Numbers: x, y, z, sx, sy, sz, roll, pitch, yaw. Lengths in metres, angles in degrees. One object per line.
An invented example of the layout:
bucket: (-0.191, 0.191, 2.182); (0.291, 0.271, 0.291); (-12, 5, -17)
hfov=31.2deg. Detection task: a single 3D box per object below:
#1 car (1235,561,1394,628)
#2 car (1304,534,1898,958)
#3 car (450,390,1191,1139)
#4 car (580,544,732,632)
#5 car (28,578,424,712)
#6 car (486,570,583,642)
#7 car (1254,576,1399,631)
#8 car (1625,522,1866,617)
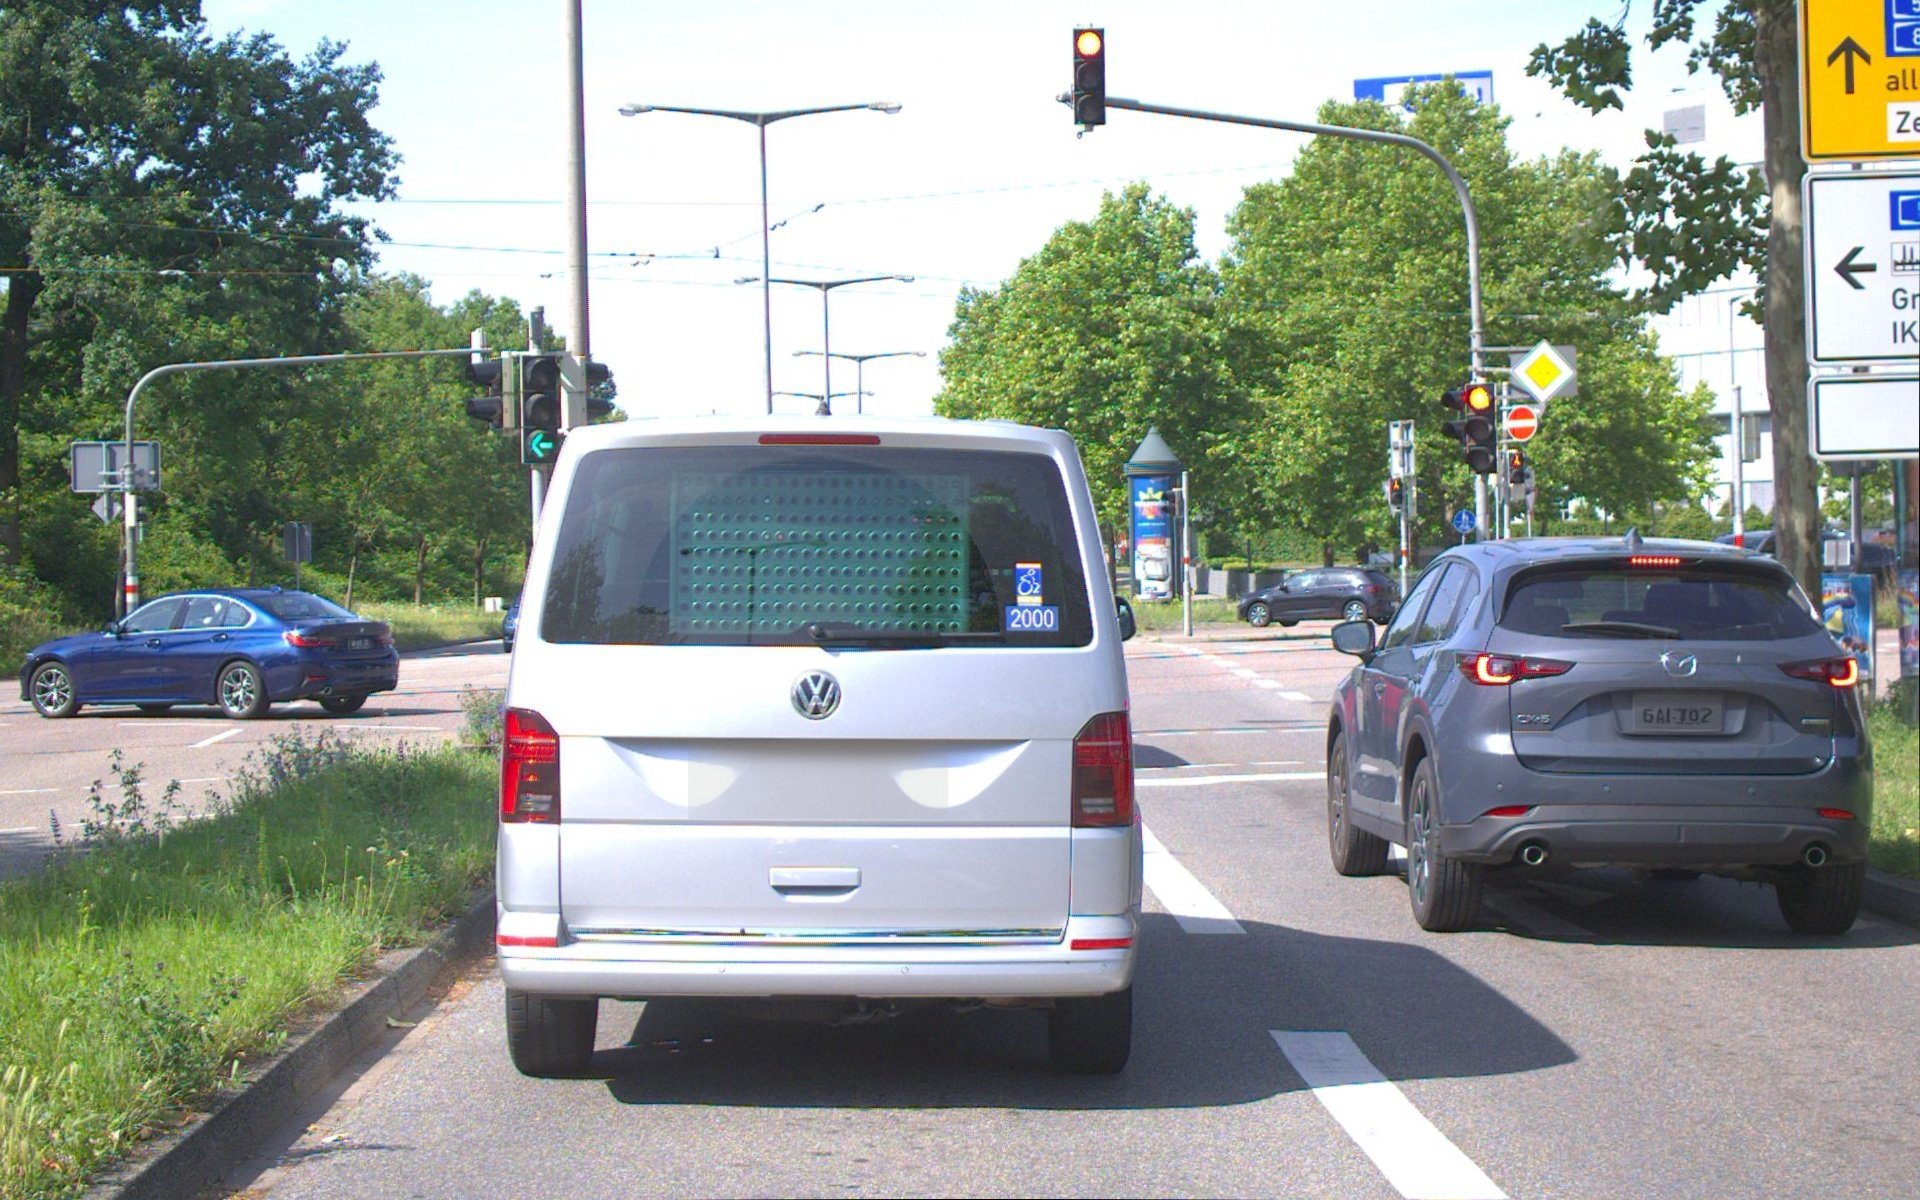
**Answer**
car: (8.555, -0.143, 82.868); (3.597, 1.560, 1.999); (1, 0, 12)
car: (2.748, 0.555, 15.770); (1.766, 1.653, 4.496); (1, 0, -1)
car: (-0.397, 0.413, 11.628); (1.941, 1.965, 5.022); (-1, 1, -1)
car: (-5.592, -0.223, 62.836); (1.844, 1.505, 4.395); (-2, 1, -17)
car: (-8.250, 0.503, 38.506); (4.319, 1.392, 1.789); (-1, 1, 33)
car: (-9.639, 0.115, 78.114); (1.849, 1.556, 4.000); (-1, 1, -3)
car: (8.797, 0.077, 82.652); (3.242, 1.232, 1.648); (-2, 1, -2)
car: (15.069, -0.597, 65.857); (4.613, 1.683, 1.915); (-2, 1, -37)
